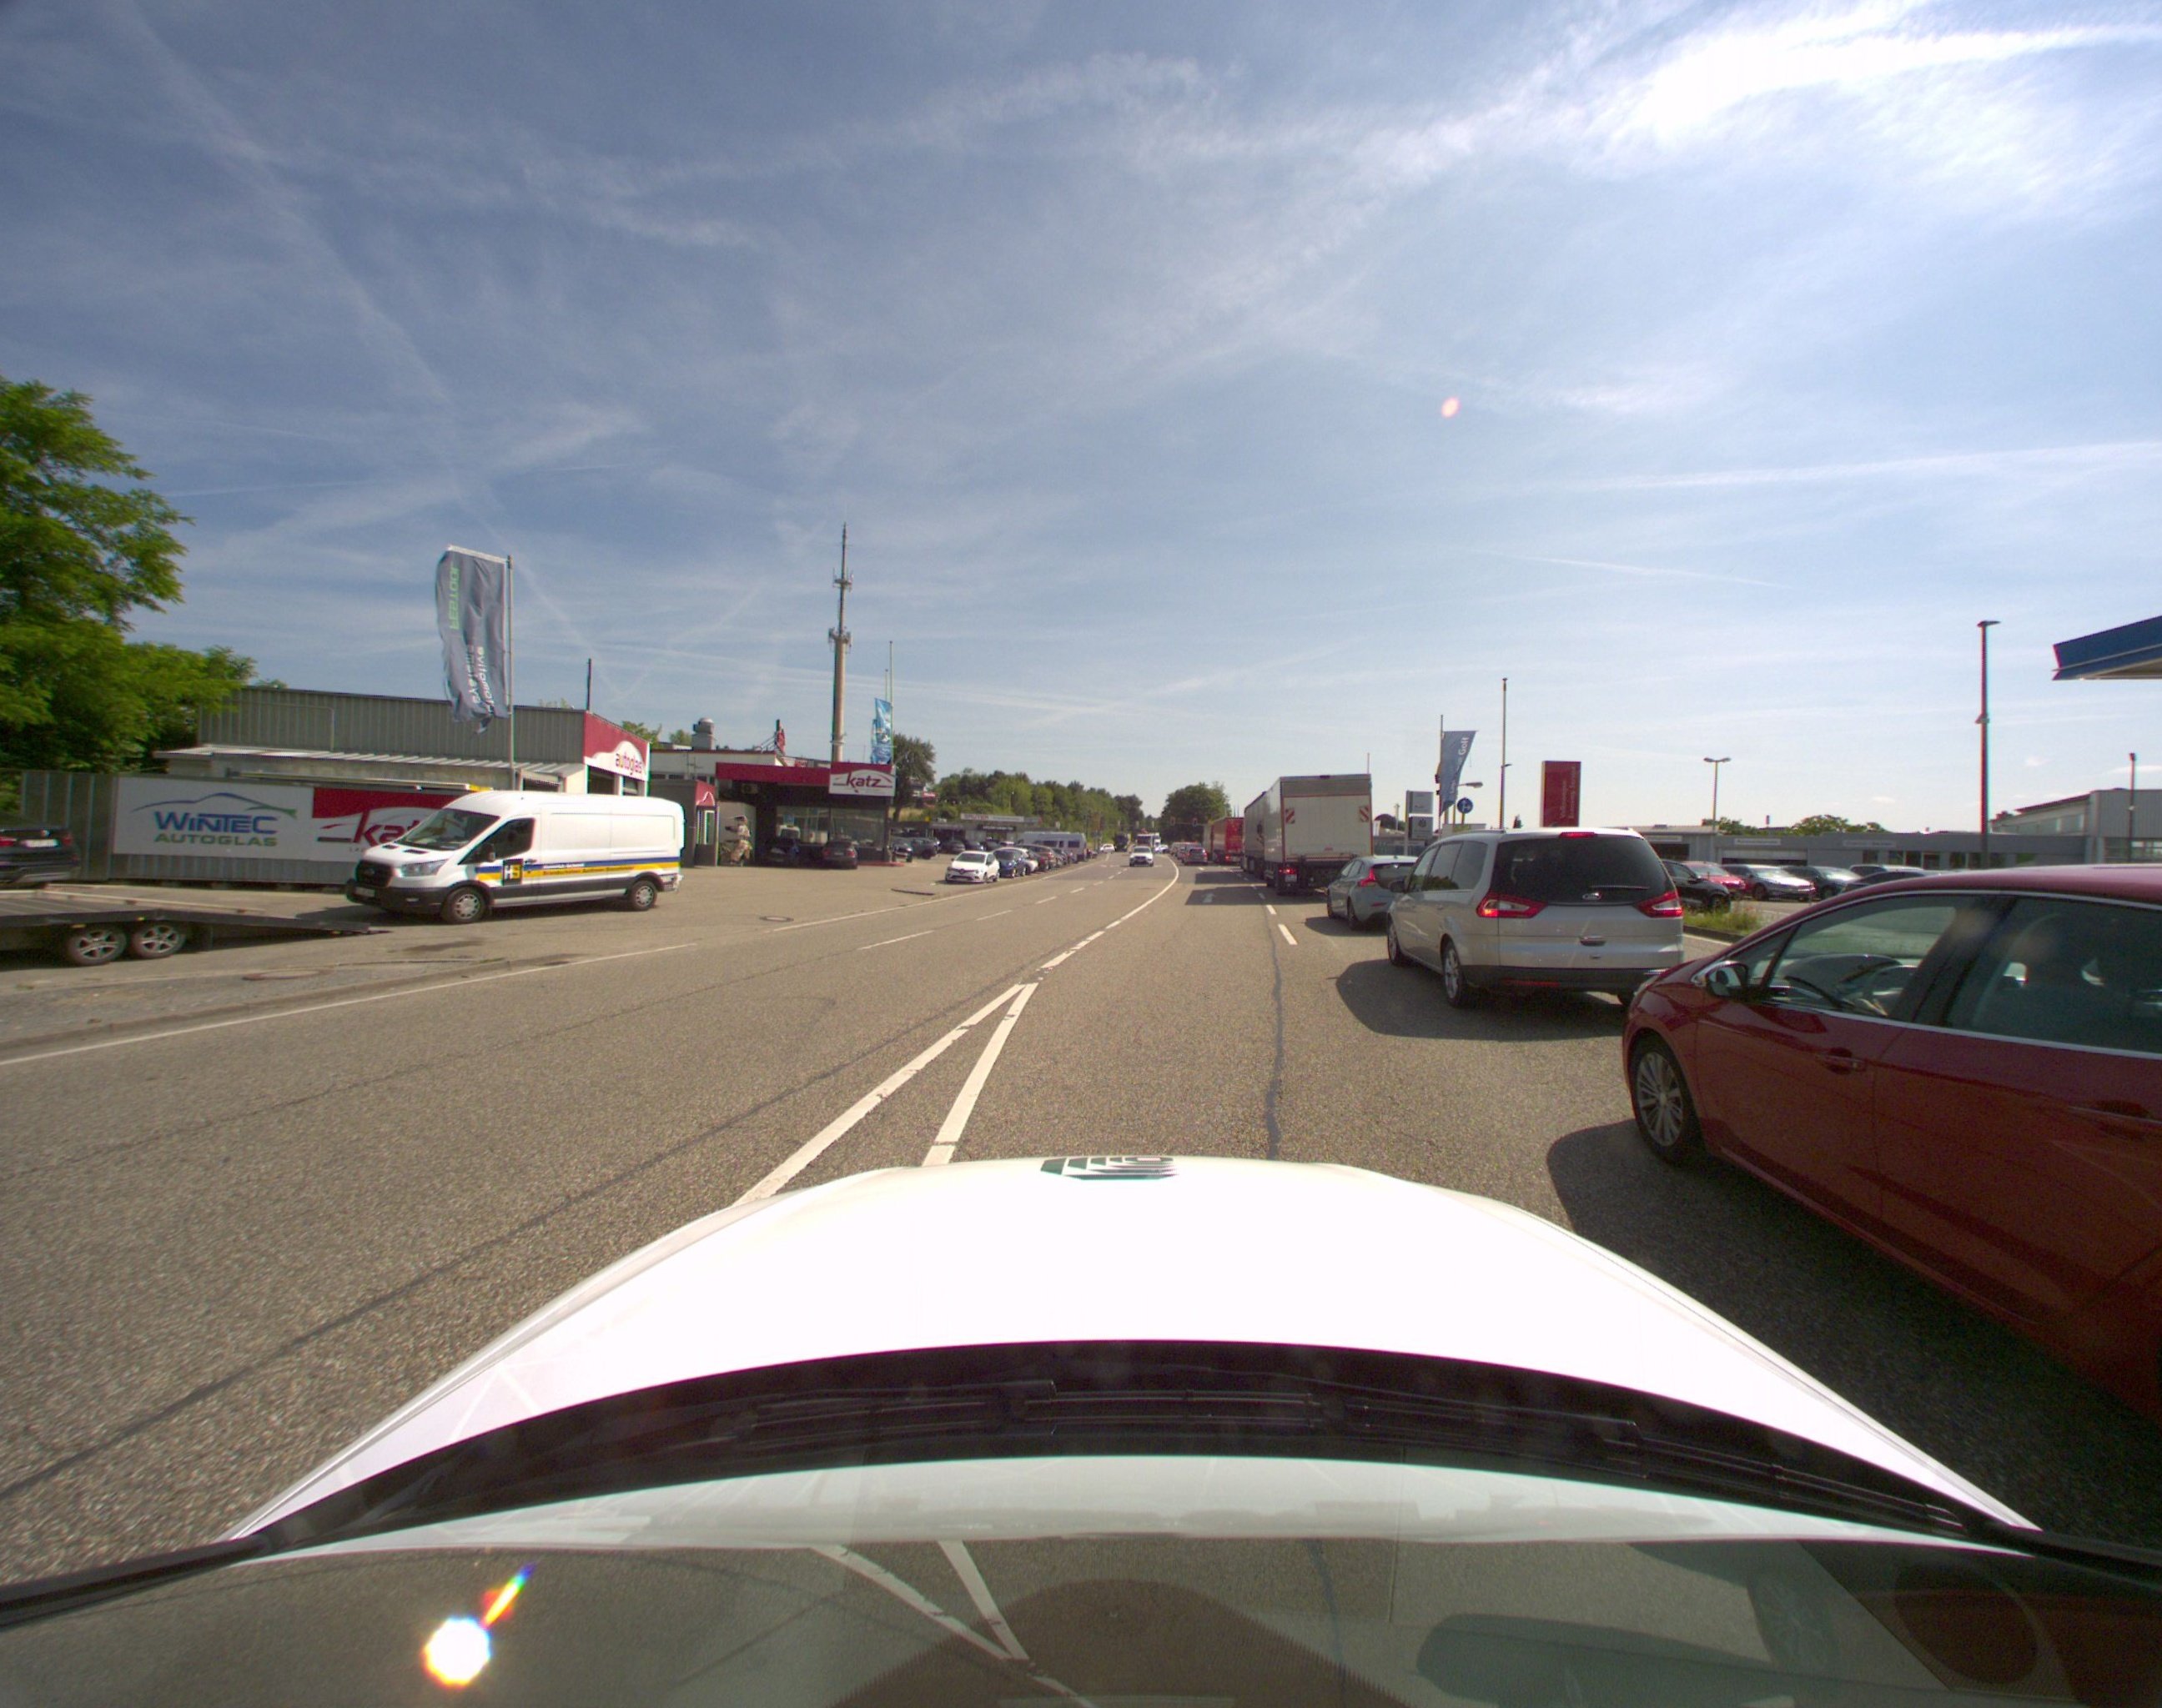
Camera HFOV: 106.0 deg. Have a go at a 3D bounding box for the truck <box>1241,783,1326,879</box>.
[{"bbox_3d":[10.675,-1.117,44.740,2.874,4.265,16.749,0,1,8],"label":"truck"}]

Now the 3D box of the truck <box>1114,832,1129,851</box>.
[{"bbox_3d":[8.122,-2.517,164.343,2.802,3.786,6.993,-1,1,2],"label":"truck"}]

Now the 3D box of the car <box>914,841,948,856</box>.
[{"bbox_3d":[-15.963,-0.614,86.498,1.779,1.588,3.782,0,1,-44],"label":"car"}]

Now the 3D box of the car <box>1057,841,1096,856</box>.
[{"bbox_3d":[-0.434,-0.547,83.346,3.798,1.539,1.845,0,1,5],"label":"car"}]

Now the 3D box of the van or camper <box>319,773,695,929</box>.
[{"bbox_3d":[-11.193,-0.099,16.651,2.136,2.498,5.981,5,2,21],"label":"van or camper"}]

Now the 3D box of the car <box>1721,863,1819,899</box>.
[{"bbox_3d":[29.443,1.109,34.927,1.549,1.409,3.605,-1,0,9],"label":"car"}]

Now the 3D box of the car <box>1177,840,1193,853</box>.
[{"bbox_3d":[12.574,-0.939,98.596,1.718,1.519,3.318,1,0,6],"label":"car"}]

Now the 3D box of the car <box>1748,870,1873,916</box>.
[{"bbox_3d":[25.303,1.319,28.416,1.549,1.409,3.605,-1,0,9],"label":"car"}]

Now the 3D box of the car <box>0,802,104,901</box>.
[{"bbox_3d":[-18.694,-0.079,12.941,3.667,1.529,1.730,1,0,-16],"label":"car"}]

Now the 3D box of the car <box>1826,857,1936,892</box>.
[{"bbox_3d":[34.836,0.857,35.589,1.549,1.409,3.698,-1,0,9],"label":"car"}]

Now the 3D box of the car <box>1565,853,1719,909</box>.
[{"bbox_3d":[15.494,0.695,22.533,3.590,1.409,1.555,-1,0,-15],"label":"car"}]

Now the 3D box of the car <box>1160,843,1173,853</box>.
[{"bbox_3d":[14.664,-1.037,139.580,1.795,1.559,4.400,0,1,10],"label":"car"}]

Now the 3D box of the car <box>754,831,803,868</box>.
[{"bbox_3d":[-14.662,-0.263,39.640,1.858,1.504,3.978,4,2,-17],"label":"car"}]

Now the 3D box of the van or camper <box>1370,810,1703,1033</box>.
[{"bbox_3d":[4.636,0.520,9.266,1.736,1.787,5.148,1,1,11],"label":"van or camper"}]

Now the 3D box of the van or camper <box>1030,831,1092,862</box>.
[{"bbox_3d":[-1.759,-0.700,73.303,5.217,2.731,2.215,1,1,7],"label":"van or camper"}]

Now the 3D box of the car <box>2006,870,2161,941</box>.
[{"bbox_3d":[25.486,1.223,19.639,3.876,1.572,1.813,1,0,13],"label":"car"}]

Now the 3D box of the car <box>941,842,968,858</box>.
[{"bbox_3d":[-13.519,-0.454,86.831,1.773,1.588,3.795,0,1,-27],"label":"car"}]

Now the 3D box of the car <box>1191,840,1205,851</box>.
[{"bbox_3d":[17.066,-1.200,118.946,1.718,1.519,3.317,1,0,5],"label":"car"}]

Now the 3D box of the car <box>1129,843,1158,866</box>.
[{"bbox_3d":[5.014,0.021,64.851,1.924,1.674,4.010,-1,0,9],"label":"car"}]

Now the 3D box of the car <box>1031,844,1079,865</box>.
[{"bbox_3d":[-2.122,0.043,67.551,3.691,1.484,1.710,4,1,4],"label":"car"}]

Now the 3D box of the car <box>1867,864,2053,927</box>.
[{"bbox_3d":[25.277,1.143,23.630,1.604,1.594,3.870,-1,0,9],"label":"car"}]

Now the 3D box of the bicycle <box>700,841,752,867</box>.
[{"bbox_3d":[-15.622,0.002,35.857,1.995,0.971,0.413,5,-1,-15],"label":"bicycle"}]

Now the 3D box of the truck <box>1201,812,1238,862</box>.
[{"bbox_3d":[15.841,-1.897,94.457,3.047,5.220,17.035,1,1,6],"label":"truck"}]

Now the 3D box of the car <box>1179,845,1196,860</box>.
[{"bbox_3d":[11.755,-0.153,90.011,1.718,1.519,3.318,1,0,6],"label":"car"}]

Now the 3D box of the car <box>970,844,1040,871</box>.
[{"bbox_3d":[-4.393,0.197,47.568,3.779,1.525,1.849,0,1,4],"label":"car"}]

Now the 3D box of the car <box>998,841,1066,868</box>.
[{"bbox_3d":[-3.280,0.006,55.268,4.258,1.484,1.838,4,1,4],"label":"car"}]

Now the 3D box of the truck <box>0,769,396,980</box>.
[{"bbox_3d":[-13.247,0.164,9.092,2.315,2.296,8.833,5,2,13],"label":"truck"}]

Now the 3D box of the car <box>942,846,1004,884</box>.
[{"bbox_3d":[-4.874,0.463,37.347,1.769,1.618,4.009,1,1,8],"label":"car"}]

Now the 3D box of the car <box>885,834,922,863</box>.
[{"bbox_3d":[-11.856,-0.339,54.171,1.827,1.674,4.101,6,-2,-19],"label":"car"}]

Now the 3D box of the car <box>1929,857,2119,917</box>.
[{"bbox_3d":[27.796,0.921,24.217,1.549,1.594,3.870,-1,0,9],"label":"car"}]

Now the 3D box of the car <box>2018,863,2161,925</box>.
[{"bbox_3d":[30.391,1.119,23.935,1.604,1.594,3.870,-1,0,9],"label":"car"}]

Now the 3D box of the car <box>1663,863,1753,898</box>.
[{"bbox_3d":[27.220,1.117,35.492,1.549,1.409,3.605,-1,0,9],"label":"car"}]

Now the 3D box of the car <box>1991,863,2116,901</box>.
[{"bbox_3d":[39.775,1.110,33.434,1.546,1.409,3.706,-1,0,18],"label":"car"}]

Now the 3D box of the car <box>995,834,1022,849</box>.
[{"bbox_3d":[-8.151,-1.372,91.361,1.773,1.588,3.795,0,1,-27],"label":"car"}]

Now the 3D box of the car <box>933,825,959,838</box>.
[{"bbox_3d":[-16.547,-2.721,99.575,1.744,1.450,3.709,1,0,-35],"label":"car"}]

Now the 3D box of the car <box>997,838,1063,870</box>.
[{"bbox_3d":[-3.244,-0.009,52.413,3.869,1.716,1.809,4,1,4],"label":"car"}]

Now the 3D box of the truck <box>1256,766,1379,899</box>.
[{"bbox_3d":[7.980,-0.685,28.957,2.862,3.810,11.171,0,1,9],"label":"truck"}]

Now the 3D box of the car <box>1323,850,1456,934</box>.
[{"bbox_3d":[6.049,0.661,16.458,1.725,1.428,4.236,1,1,10],"label":"car"}]

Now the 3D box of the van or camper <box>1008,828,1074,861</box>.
[{"bbox_3d":[-3.673,-0.905,75.915,5.863,2.873,2.294,1,1,5],"label":"van or camper"}]

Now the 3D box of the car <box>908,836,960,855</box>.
[{"bbox_3d":[-11.770,-0.666,65.181,3.947,1.532,1.759,0,1,-18],"label":"car"}]

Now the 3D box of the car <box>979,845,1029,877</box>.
[{"bbox_3d":[-4.155,0.353,44.350,1.769,1.493,3.790,5,1,8],"label":"car"}]

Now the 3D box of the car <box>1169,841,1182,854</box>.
[{"bbox_3d":[14.094,-0.941,121.240,1.717,1.908,3.320,1,0,9],"label":"car"}]

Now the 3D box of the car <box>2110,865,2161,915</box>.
[{"bbox_3d":[32.470,1.066,23.275,1.604,1.443,3.870,-1,0,9],"label":"car"}]

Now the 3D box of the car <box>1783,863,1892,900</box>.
[{"bbox_3d":[31.780,1.125,34.346,1.550,1.409,3.603,-1,0,7],"label":"car"}]

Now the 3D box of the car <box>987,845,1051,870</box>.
[{"bbox_3d":[-3.800,0.213,50.050,3.691,1.525,1.794,0,1,4],"label":"car"}]

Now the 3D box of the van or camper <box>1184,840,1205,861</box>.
[{"bbox_3d":[11.157,-0.364,80.540,1.843,1.905,3.790,1,1,5],"label":"van or camper"}]

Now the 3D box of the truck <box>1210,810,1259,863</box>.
[{"bbox_3d":[13.683,-1.545,73.917,2.942,4.269,16.612,1,1,6],"label":"truck"}]

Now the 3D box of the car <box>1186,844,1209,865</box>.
[{"bbox_3d":[9.439,0.044,65.962,1.780,1.638,3.513,0,0,9],"label":"car"}]

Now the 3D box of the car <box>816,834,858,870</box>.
[{"bbox_3d":[-12.203,-0.129,40.840,1.857,1.504,4.374,3,2,-16],"label":"car"}]

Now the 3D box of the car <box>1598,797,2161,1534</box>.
[{"bbox_3d":[3.384,0.646,2.552,1.789,1.572,3.726,-1,0,12],"label":"car"}]

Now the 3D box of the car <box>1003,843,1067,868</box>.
[{"bbox_3d":[-3.351,0.113,59.763,4.439,1.484,1.774,4,1,4],"label":"car"}]

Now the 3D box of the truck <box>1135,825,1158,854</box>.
[{"bbox_3d":[10.098,-2.143,125.052,2.940,4.209,10.669,-1,1,7],"label":"truck"}]

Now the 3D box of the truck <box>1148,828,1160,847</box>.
[{"bbox_3d":[16.795,-3.703,187.394,2.540,4.307,7.608,-1,1,6],"label":"truck"}]

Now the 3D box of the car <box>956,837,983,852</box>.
[{"bbox_3d":[-12.188,-1.075,88.716,1.773,1.588,3.795,0,1,-27],"label":"car"}]

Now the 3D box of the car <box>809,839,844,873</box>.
[{"bbox_3d":[-14.598,0.058,46.598,1.704,1.759,3.738,4,0,-19],"label":"car"}]
